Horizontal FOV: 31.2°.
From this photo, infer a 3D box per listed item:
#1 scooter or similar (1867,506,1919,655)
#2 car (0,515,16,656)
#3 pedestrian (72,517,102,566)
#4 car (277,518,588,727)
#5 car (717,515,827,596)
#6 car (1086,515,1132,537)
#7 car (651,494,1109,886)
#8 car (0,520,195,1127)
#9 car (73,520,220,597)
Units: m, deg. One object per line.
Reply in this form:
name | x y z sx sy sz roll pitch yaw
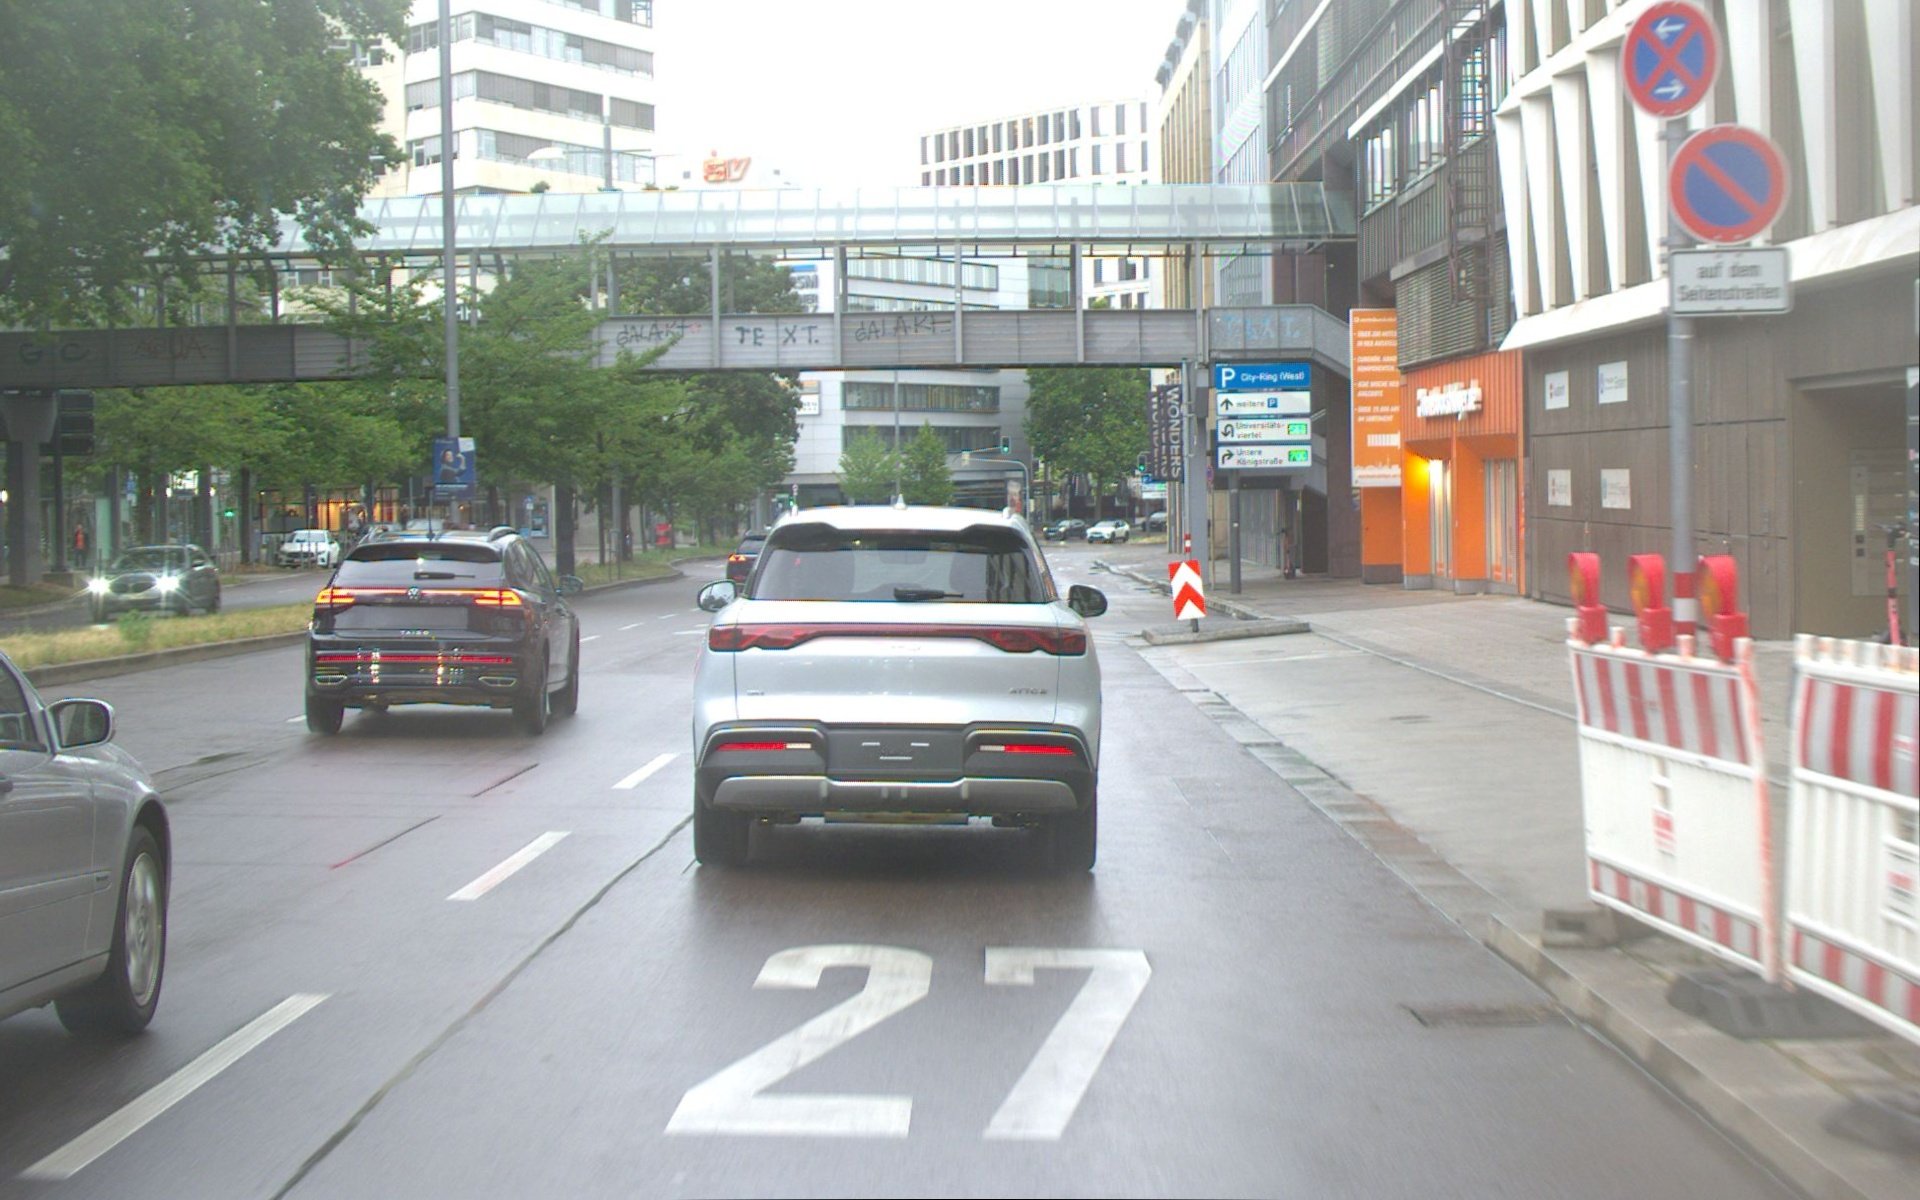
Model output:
scooter or similar | 7.957 -0.178 29.127 0.412 1.232 1.189 0 1 9
car | -12.329 -0.133 39.075 1.874 1.674 4.681 -1 1 0
pedestrian | -30.959 -2.090 121.922 0.743 1.709 1.057 -1 1 0
car | -3.949 0.129 26.310 1.774 1.452 4.000 -1 1 0
car | -3.778 -0.916 69.578 1.812 1.573 4.000 0 2 3
car | 10.725 -5.356 247.815 1.583 1.533 3.993 1 2 31
car | -0.333 0.342 16.484 1.901 1.616 4.000 1 1 0
car | -3.164 0.540 8.256 1.672 1.474 4.360 0 0 0
car | -15.863 -0.820 67.238 1.691 1.433 4.759 -1 1 1
